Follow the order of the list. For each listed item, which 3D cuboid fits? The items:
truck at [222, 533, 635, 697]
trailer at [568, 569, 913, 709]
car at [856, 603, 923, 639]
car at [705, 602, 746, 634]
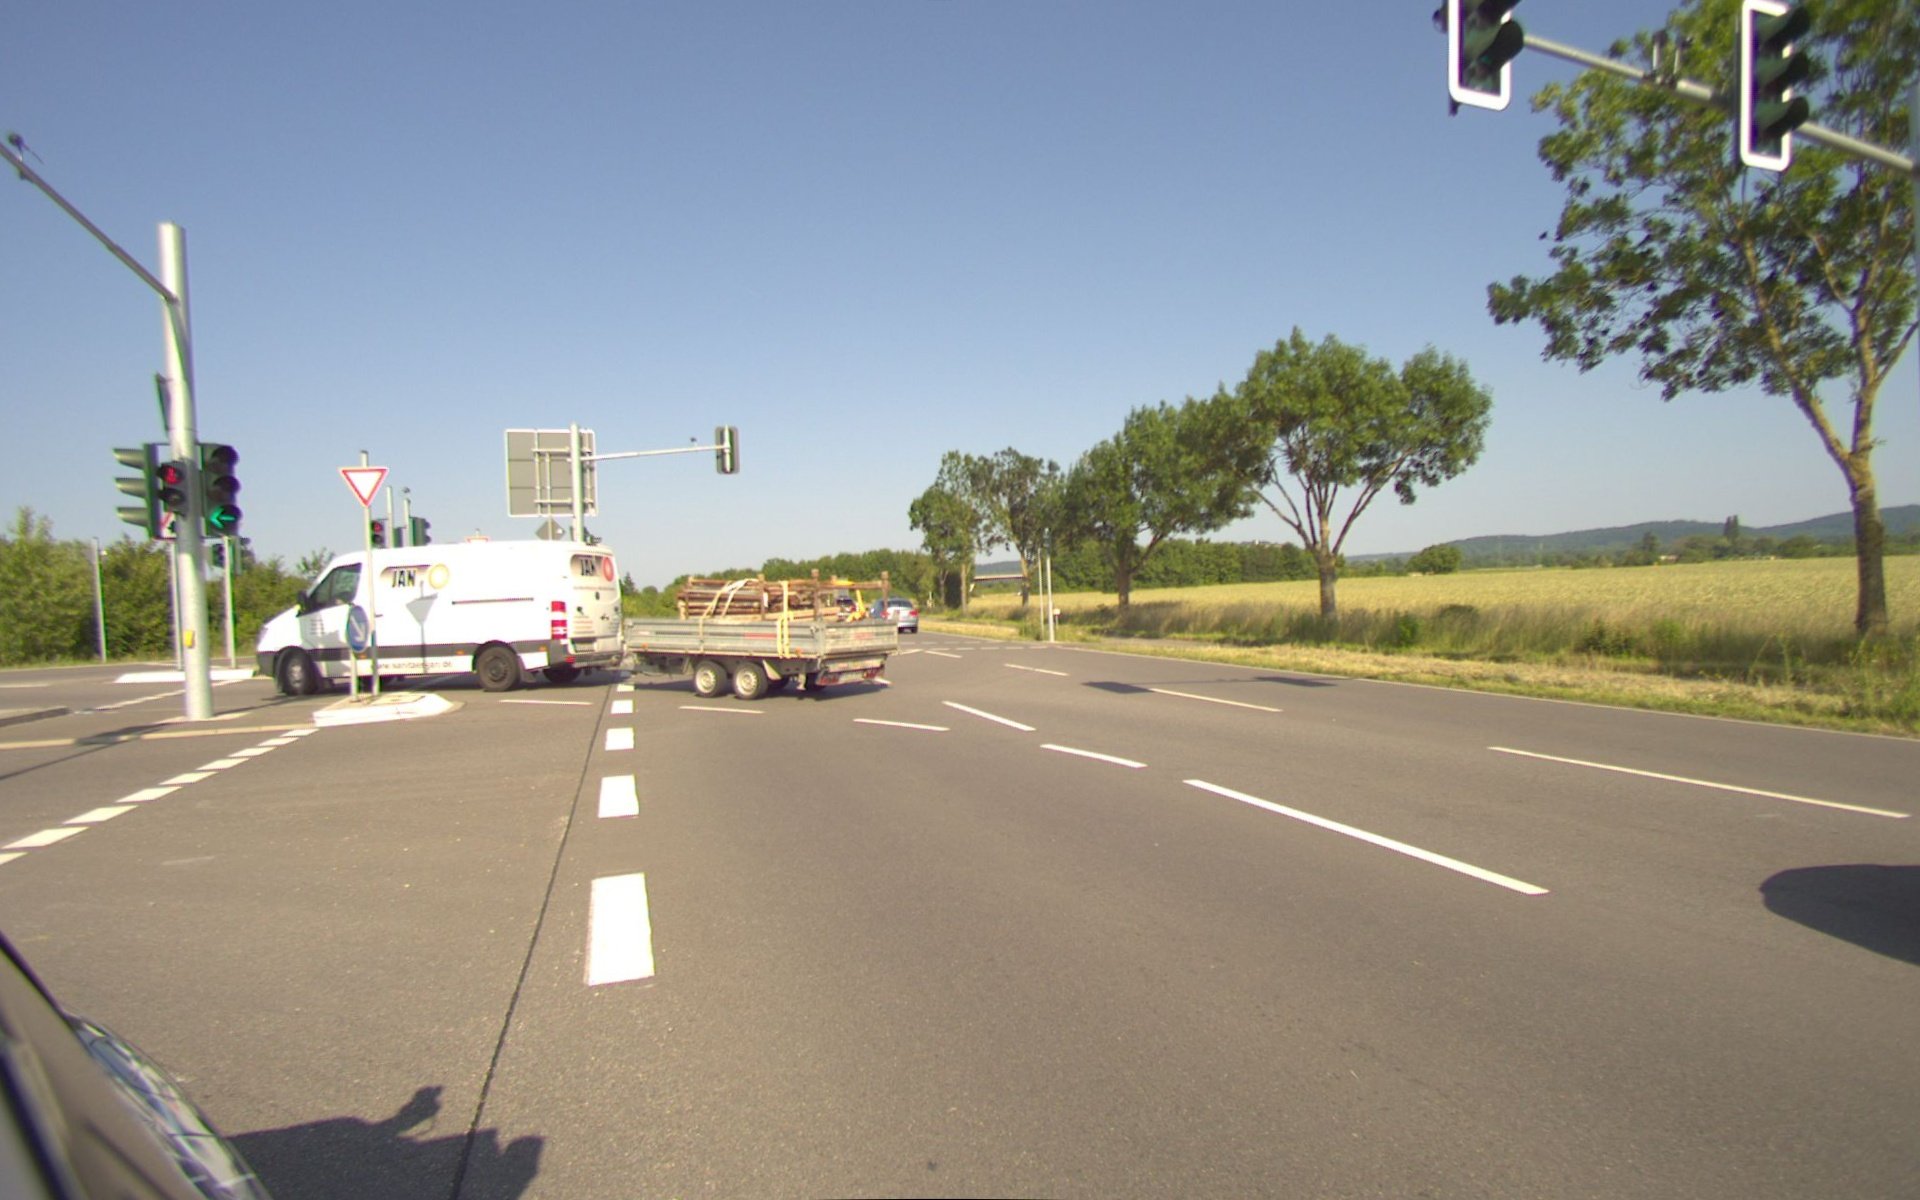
[{"bbox_3d":[-8.711,0.278,16.727,6.134,2.423,2.063,-1,0,12],"label":"truck"},{"bbox_3d":[-3.298,0.520,14.819,4.995,1.751,1.959,-1,0,32],"label":"trailer"},{"bbox_3d":[-2.988,0.846,41.862,1.606,1.387,4.436,0,0,-20],"label":"car"},{"bbox_3d":[-11.997,0.902,51.897,1.832,1.554,4.009,-2,0,-10],"label":"car"}]
